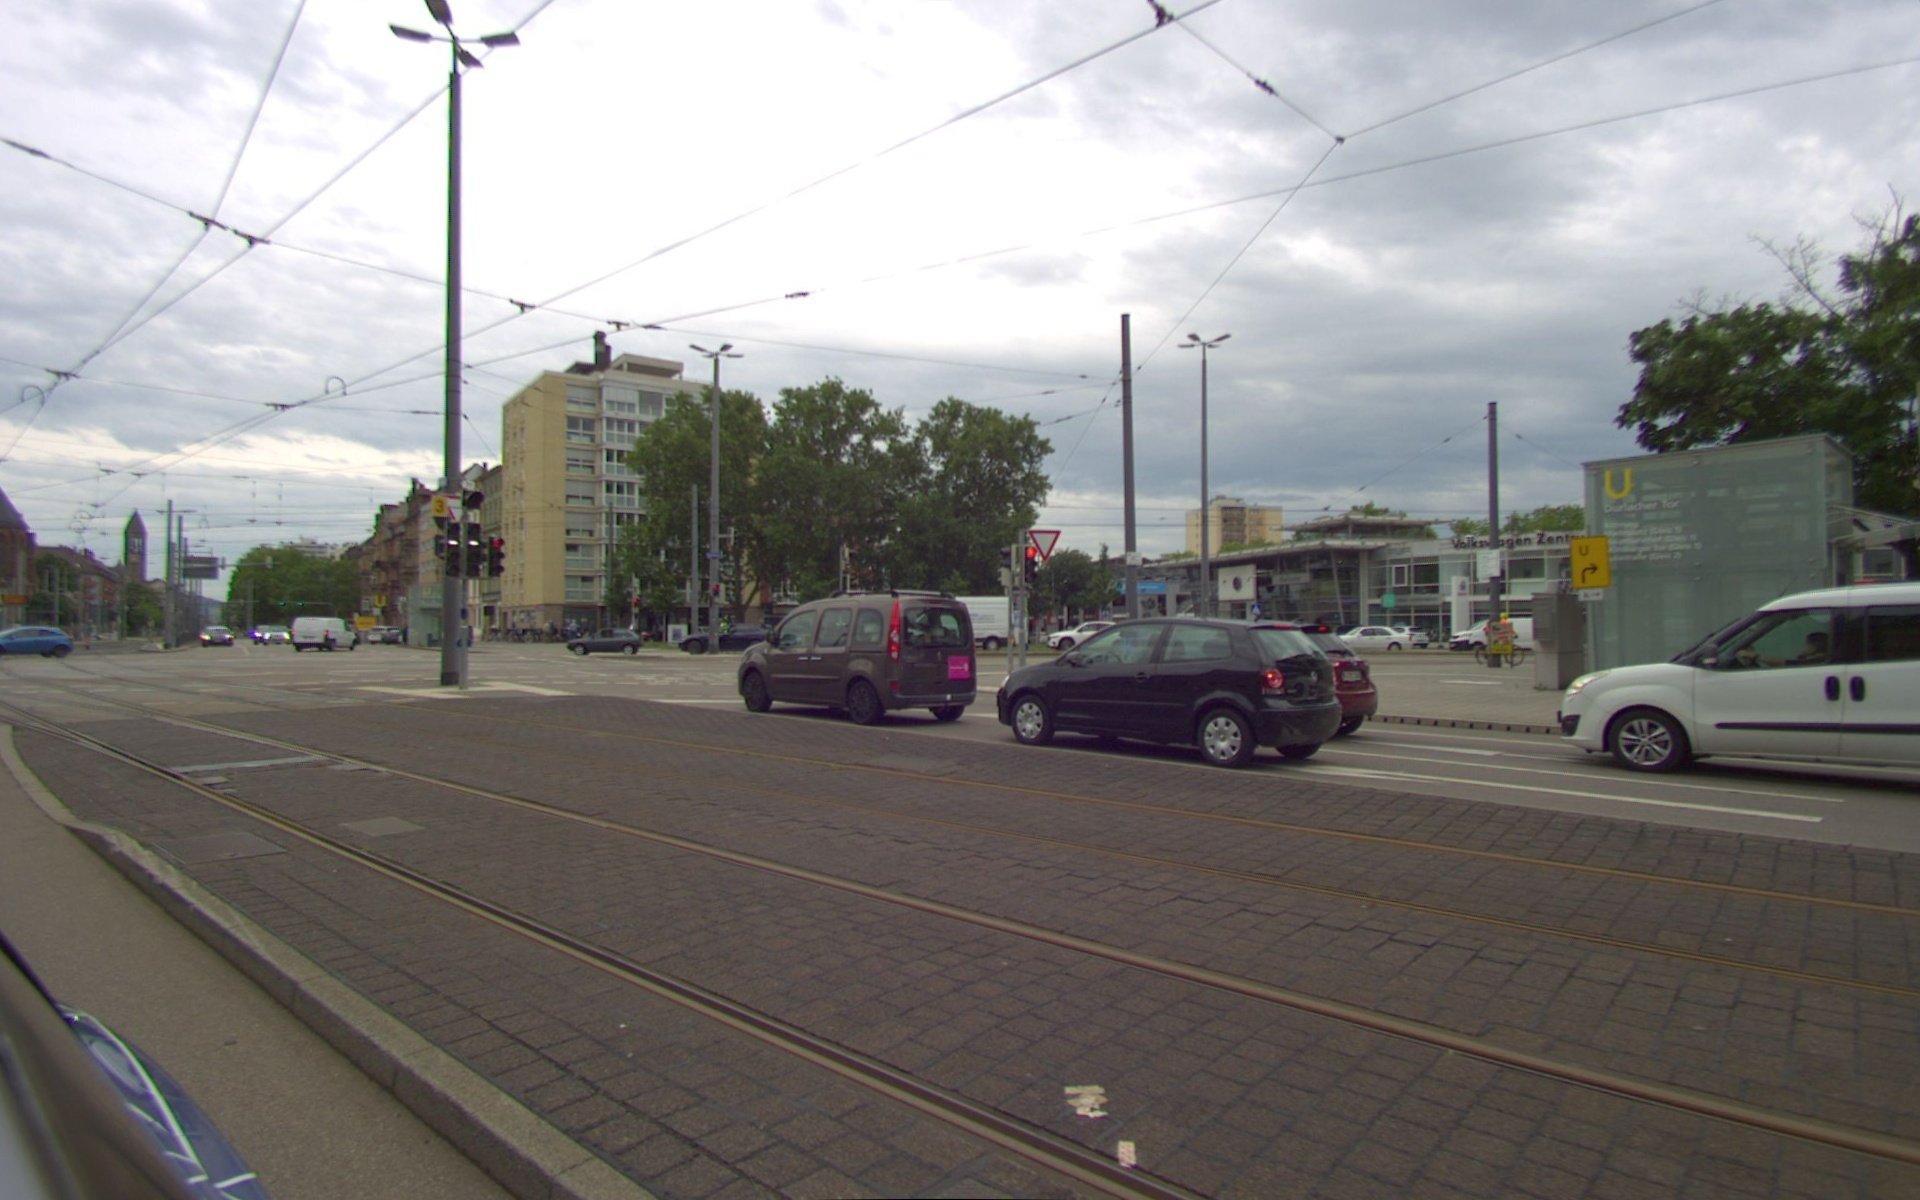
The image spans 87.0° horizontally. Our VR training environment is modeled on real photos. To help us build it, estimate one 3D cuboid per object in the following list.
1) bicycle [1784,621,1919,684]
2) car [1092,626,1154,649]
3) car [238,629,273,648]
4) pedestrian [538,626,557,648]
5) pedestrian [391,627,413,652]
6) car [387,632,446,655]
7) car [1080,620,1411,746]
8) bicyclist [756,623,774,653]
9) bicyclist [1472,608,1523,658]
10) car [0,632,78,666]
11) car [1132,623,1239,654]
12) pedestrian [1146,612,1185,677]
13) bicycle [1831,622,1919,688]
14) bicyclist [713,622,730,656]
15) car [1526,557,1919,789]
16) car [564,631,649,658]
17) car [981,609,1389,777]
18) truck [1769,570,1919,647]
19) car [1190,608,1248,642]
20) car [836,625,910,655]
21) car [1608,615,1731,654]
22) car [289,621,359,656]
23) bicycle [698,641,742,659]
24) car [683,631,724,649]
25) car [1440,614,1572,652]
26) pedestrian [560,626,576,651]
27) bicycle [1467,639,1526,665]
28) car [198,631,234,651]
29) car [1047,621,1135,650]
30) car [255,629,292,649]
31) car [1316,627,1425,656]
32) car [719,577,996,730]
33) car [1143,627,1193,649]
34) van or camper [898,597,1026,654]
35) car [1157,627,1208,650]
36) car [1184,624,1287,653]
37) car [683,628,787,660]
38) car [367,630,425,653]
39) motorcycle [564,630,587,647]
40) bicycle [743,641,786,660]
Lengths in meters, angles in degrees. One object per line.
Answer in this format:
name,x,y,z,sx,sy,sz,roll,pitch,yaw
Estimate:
bicycle,20.638,1.179,22.824,3.085,1.364,0.958,0,-1,10
car,10.659,2.449,66.298,3.684,1.431,1.641,0,-2,-1
car,-58.476,3.171,83.987,1.968,1.542,4.006,1,-2,-40
pedestrian,-32.450,2.908,79.597,1.024,1.652,1.334,1,-3,-40
pedestrian,-39.869,2.812,72.343,1.162,1.798,1.042,1,-3,-41
car,-45.365,3.619,84.535,2.065,1.768,3.975,0,-1,19
car,3.712,1.011,13.660,1.669,1.453,4.002,2,-2,-45
bicyclist,-10.237,1.993,53.166,0.845,1.520,0.567,-2,-2,0
bicyclist,17.933,1.097,33.779,1.299,1.633,0.832,1,-2,-23
car,-44.809,2.326,48.034,1.991,1.505,4.018,-5,-5,29
car,10.807,1.849,48.829,4.738,1.431,1.998,0,-2,3
pedestrian,5.557,1.201,27.425,0.592,1.741,0.915,0,-2,-23
bicycle,20.595,1.160,21.511,3.085,1.364,0.958,0,-1,10
bicyclist,-12.584,2.057,53.442,0.786,1.817,0.629,0,-2,0
car,8.339,0.631,9.346,1.841,1.931,5.104,1,-2,-44
car,-17.499,2.193,50.212,3.681,1.256,1.693,0,-2,-4
car,2.235,0.865,10.820,1.669,1.453,4.002,2,-2,-45
truck,44.830,0.425,48.489,9.126,3.576,2.793,0,-1,11
car,16.090,1.542,63.134,2.089,2.029,4.786,0,-1,-4
car,-4.393,2.016,51.090,3.681,1.431,1.642,0,-2,-4
car,35.110,1.717,50.195,4.470,1.853,1.995,-1,-2,8
car,-36.453,2.166,58.117,1.891,1.896,5.103,1,-1,-14
bicycle,-12.642,2.634,53.391,2.192,0.937,0.520,-1,-2,0
car,-22.498,3.491,88.742,1.968,1.564,4.006,1,-3,-40
car,27.447,1.678,51.065,5.379,1.870,2.160,-1,-2,5
pedestrian,-27.620,2.721,71.330,0.915,1.733,0.697,-1,-1,41
bicycle,17.881,1.721,33.739,2.037,0.855,0.560,1,-2,-23
car,-55.157,3.047,74.987,1.968,1.453,4.007,1,-2,-39
car,6.660,1.825,51.602,4.209,1.431,1.641,0,-2,-1
car,-52.700,2.961,77.659,1.968,1.453,4.007,1,-2,-39
car,20.903,2.099,51.702,4.691,1.431,1.997,-1,-2,6
car,-1.639,0.734,14.879,1.669,1.915,4.389,2,-2,-45
car,19.036,3.470,92.729,3.932,2.029,2.006,1,-1,-16
van or camper,0.035,1.198,48.536,5.961,2.630,2.425,0,-1,-4
car,19.842,3.424,90.322,3.932,2.029,2.006,1,-1,-16
car,14.058,1.984,51.889,4.738,1.431,1.998,0,-2,3
car,-10.549,2.058,47.718,4.591,1.431,2.002,0,-2,-4
car,-47.910,3.498,86.018,2.065,1.768,3.975,0,-1,19
motorcycle,-27.920,2.764,73.467,0.850,1.187,2.553,1,-1,-36
bicycle,-10.271,2.647,53.170,2.192,0.933,0.520,-1,-2,0
